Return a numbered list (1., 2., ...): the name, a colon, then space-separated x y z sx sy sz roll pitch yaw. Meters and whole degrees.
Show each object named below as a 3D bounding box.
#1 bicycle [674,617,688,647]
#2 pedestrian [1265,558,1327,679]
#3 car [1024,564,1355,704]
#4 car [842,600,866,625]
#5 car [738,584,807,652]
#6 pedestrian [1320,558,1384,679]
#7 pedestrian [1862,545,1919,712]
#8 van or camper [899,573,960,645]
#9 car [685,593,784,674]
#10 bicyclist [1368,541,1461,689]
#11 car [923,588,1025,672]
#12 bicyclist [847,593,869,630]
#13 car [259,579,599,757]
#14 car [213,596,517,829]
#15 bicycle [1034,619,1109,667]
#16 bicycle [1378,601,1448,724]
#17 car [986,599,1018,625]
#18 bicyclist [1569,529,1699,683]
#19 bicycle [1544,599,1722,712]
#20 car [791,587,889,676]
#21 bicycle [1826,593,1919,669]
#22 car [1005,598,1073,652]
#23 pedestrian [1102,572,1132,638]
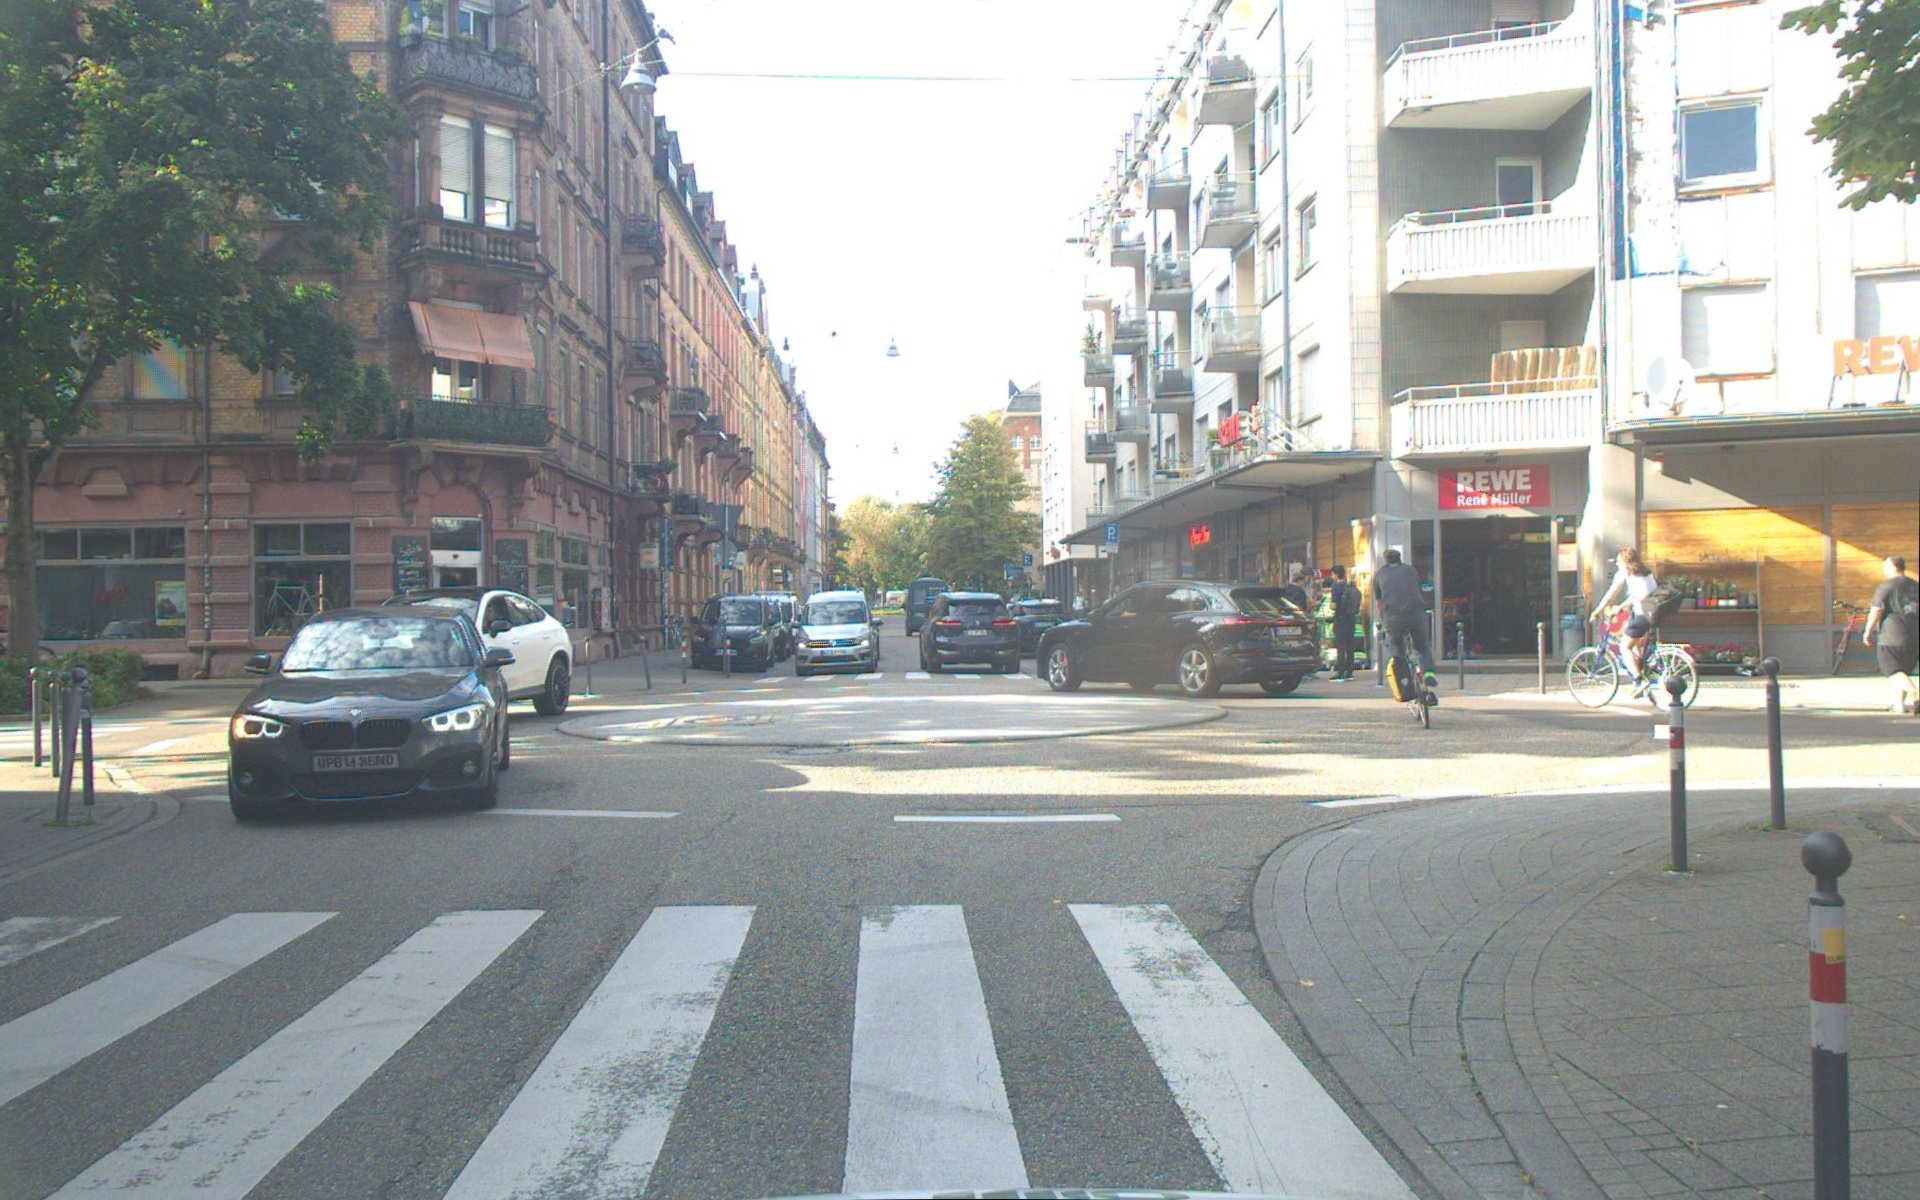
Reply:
1. bicycle: -9.326 1.073 55.342 0.353 0.963 1.713 0 0 -6
2. pedestrian: 5.323 0.292 26.204 0.850 1.883 0.613 -1 0 3
3. car: 3.223 0.447 24.166 2.020 1.754 4.784 -3 2 -36
4. car: -9.035 1.060 140.979 1.954 2.049 3.998 -1 0 -3
5. car: -5.923 0.550 52.560 1.954 2.049 3.997 -1 0 -4
6. pedestrian: 6.193 0.286 26.144 0.850 1.883 0.613 -1 0 3
7. pedestrian: 10.297 0.300 17.988 0.615 1.769 0.776 -1 0 10
8. van or camper: -1.404 0.407 74.119 2.481 3.090 4.455 -1 0 -4
9. car: -5.413 0.758 40.244 1.746 1.754 4.445 1 1 1
10. bicyclist: 4.748 0.150 17.288 0.913 1.510 0.748 0 0 16
11. car: 0.241 0.601 35.332 1.953 1.646 3.998 -1 0 -2
12. bicyclist: -5.595 0.636 91.027 1.111 2.033 1.027 1 -1 -7
13. car: -6.232 0.707 20.130 1.901 1.752 4.854 -2 1 9
14. car: -4.337 0.734 12.638 1.720 1.461 4.196 0 -1 -14
15. bicycle: 2.621 0.997 38.767 1.773 1.045 0.671 -1 0 -40
16. bicycle: 4.777 0.615 17.426 0.651 1.198 2.499 0 0 16
17. car: 2.401 0.647 94.642 1.612 1.347 3.576 -4 0 -1
18. bicyclist: 7.705 0.063 18.932 0.928 1.697 1.008 -1 0 -24
19. bicycle: 7.698 0.609 19.009 0.700 1.220 1.961 -1 0 -23
20. car: -2.650 0.665 37.499 1.756 1.822 4.736 -2 0 1
21. bicycle: 13.438 0.446 23.809 1.652 1.069 0.456 -1 0 38
22. car: 2.156 0.664 46.089 1.612 1.347 3.576 -3 0 -1
23. pedestrian: 4.599 0.141 48.436 0.715 1.897 1.063 -1 0 13
